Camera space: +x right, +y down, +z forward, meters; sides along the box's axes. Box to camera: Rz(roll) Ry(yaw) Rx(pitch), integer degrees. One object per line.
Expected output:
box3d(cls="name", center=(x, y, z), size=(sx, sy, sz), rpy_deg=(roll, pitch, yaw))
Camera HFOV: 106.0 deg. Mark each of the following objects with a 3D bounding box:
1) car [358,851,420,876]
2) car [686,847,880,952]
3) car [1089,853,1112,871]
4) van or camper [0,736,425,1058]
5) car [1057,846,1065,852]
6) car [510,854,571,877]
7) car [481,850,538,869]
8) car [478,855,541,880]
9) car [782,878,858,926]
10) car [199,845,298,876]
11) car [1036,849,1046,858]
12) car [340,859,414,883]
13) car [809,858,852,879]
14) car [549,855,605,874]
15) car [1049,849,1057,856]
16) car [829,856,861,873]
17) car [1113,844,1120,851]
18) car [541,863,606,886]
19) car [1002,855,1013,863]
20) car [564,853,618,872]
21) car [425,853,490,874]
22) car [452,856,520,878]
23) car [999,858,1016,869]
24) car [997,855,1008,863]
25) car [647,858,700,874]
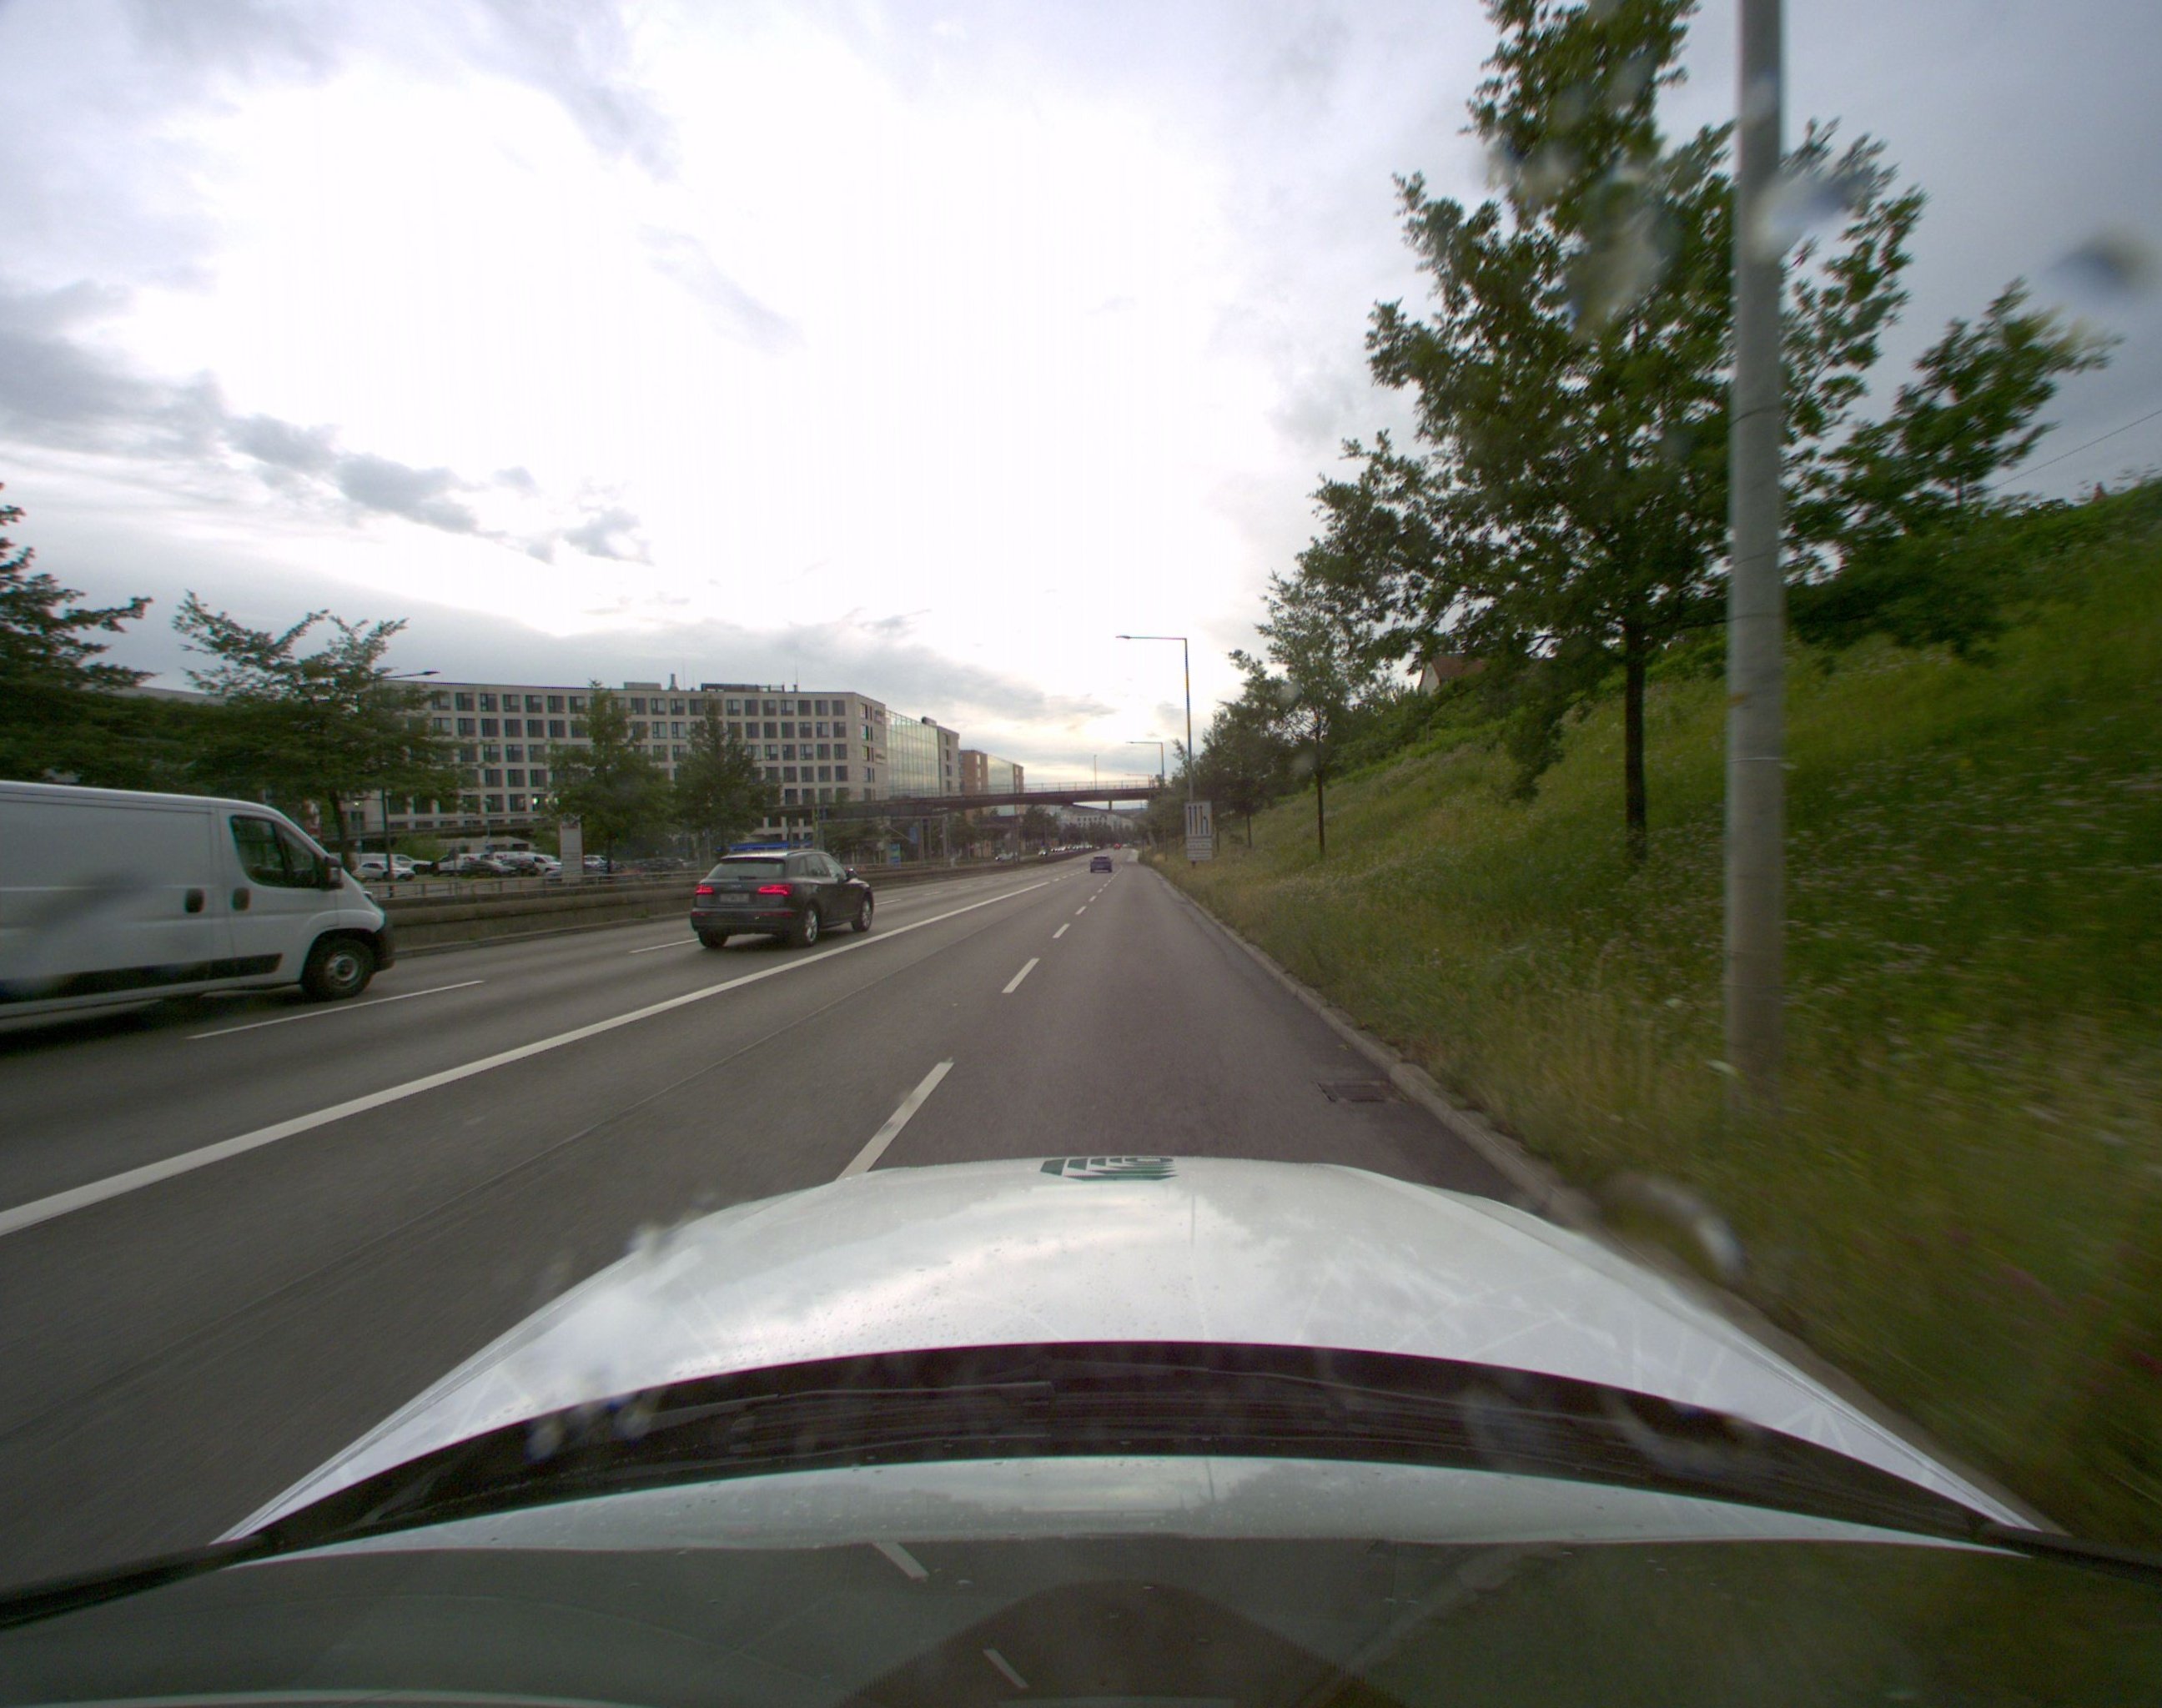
box3d(cls="car", center=(-62.245, 0.854, 73.299), size=(4.017, 2.048, 1.979), rpy_deg=(-2, 3, -35))
box3d(cls="car", center=(-5.274, 0.727, 15.165), size=(1.745, 1.617, 4.749), rpy_deg=(-1, 0, 1))
box3d(cls="car", center=(1.677, 0.629, 68.884), size=(1.741, 1.420, 3.481), rpy_deg=(-2, 0, 3))
box3d(cls="van or camper", center=(-9.235, 0.351, 7.139), size=(2.194, 2.439, 5.537), rpy_deg=(-2, 0, 4))
box3d(cls="car", center=(-6.134, -1.495, 249.422), size=(1.984, 1.735, 4.255), rpy_deg=(0, 3, 5))
box3d(cls="car", center=(-46.661, 0.997, 70.360), size=(3.964, 1.875, 2.005), rpy_deg=(0, 3, 8))
box3d(cls="car", center=(-53.129, 0.511, 75.756), size=(3.974, 1.650, 1.821), rpy_deg=(0, 3, 0))
box3d(cls="car", center=(-47.692, 1.105, 68.027), size=(3.964, 2.013, 2.005), rpy_deg=(-1, 0, 8))
box3d(cls="car", center=(-11.364, 2.051, 35.751), size=(1.944, 1.661, 4.001), rpy_deg=(0, 3, 1))
box3d(cls="car", center=(-50.838, 0.346, 49.840), size=(4.022, 1.650, 1.977), rpy_deg=(-2, 3, -41))
box3d(cls="car", center=(-9.438, -0.118, 194.460), size=(1.986, 2.013, 4.004), rpy_deg=(0, 3, 2))
box3d(cls="car", center=(-52.629, 1.264, 60.910), size=(3.964, 1.650, 2.005), rpy_deg=(0, 3, 8))
box3d(cls="car", center=(-21.367, 1.232, 69.614), size=(1.983, 1.585, 4.008), rpy_deg=(-2, 0, 7))
box3d(cls="car", center=(-46.885, 0.942, 75.770), size=(3.964, 1.650, 2.005), rpy_deg=(0, 3, 8))
box3d(cls="car", center=(-8.770, -0.479, 253.607), size=(1.984, 1.735, 4.255), rpy_deg=(0, 3, 5))
box3d(cls="car", center=(-25.115, 1.127, 86.796), size=(1.986, 1.777, 4.104), rpy_deg=(0, 0, 2))
box3d(cls="car", center=(11.071, -2.052, 254.323), size=(1.856, 1.749, 4.001), rpy_deg=(0, 3, 0))
box3d(cls="car", center=(-38.747, 1.524, 62.266), size=(4.008, 1.651, 1.983), rpy_deg=(0, 1, -27))
box3d(cls="car", center=(-13.393, 0.849, 148.056), size=(1.511, 1.420, 3.482), rpy_deg=(-2, 1, 3))
box3d(cls="car", center=(-47.097, 0.772, 78.334), size=(3.964, 1.650, 2.005), rpy_deg=(0, 3, 8))
box3d(cls="car", center=(-52.896, 0.826, 69.155), size=(3.972, 1.650, 2.001), rpy_deg=(0, 3, 1))
box3d(cls="car", center=(-47.693, 1.039, 65.339), size=(3.972, 1.650, 2.001), rpy_deg=(0, 3, 1))
box3d(cls="car", center=(-9.589, 1.290, 106.900), size=(1.741, 1.420, 3.481), rpy_deg=(0, 0, 3))
box3d(cls="car", center=(-15.329, 0.961, 158.925), size=(1.511, 1.420, 3.482), rpy_deg=(-2, 1, 3))
box3d(cls="car", center=(-37.408, 1.079, 74.778), size=(3.967, 1.354, 1.853), rpy_deg=(0, 0, 5))
